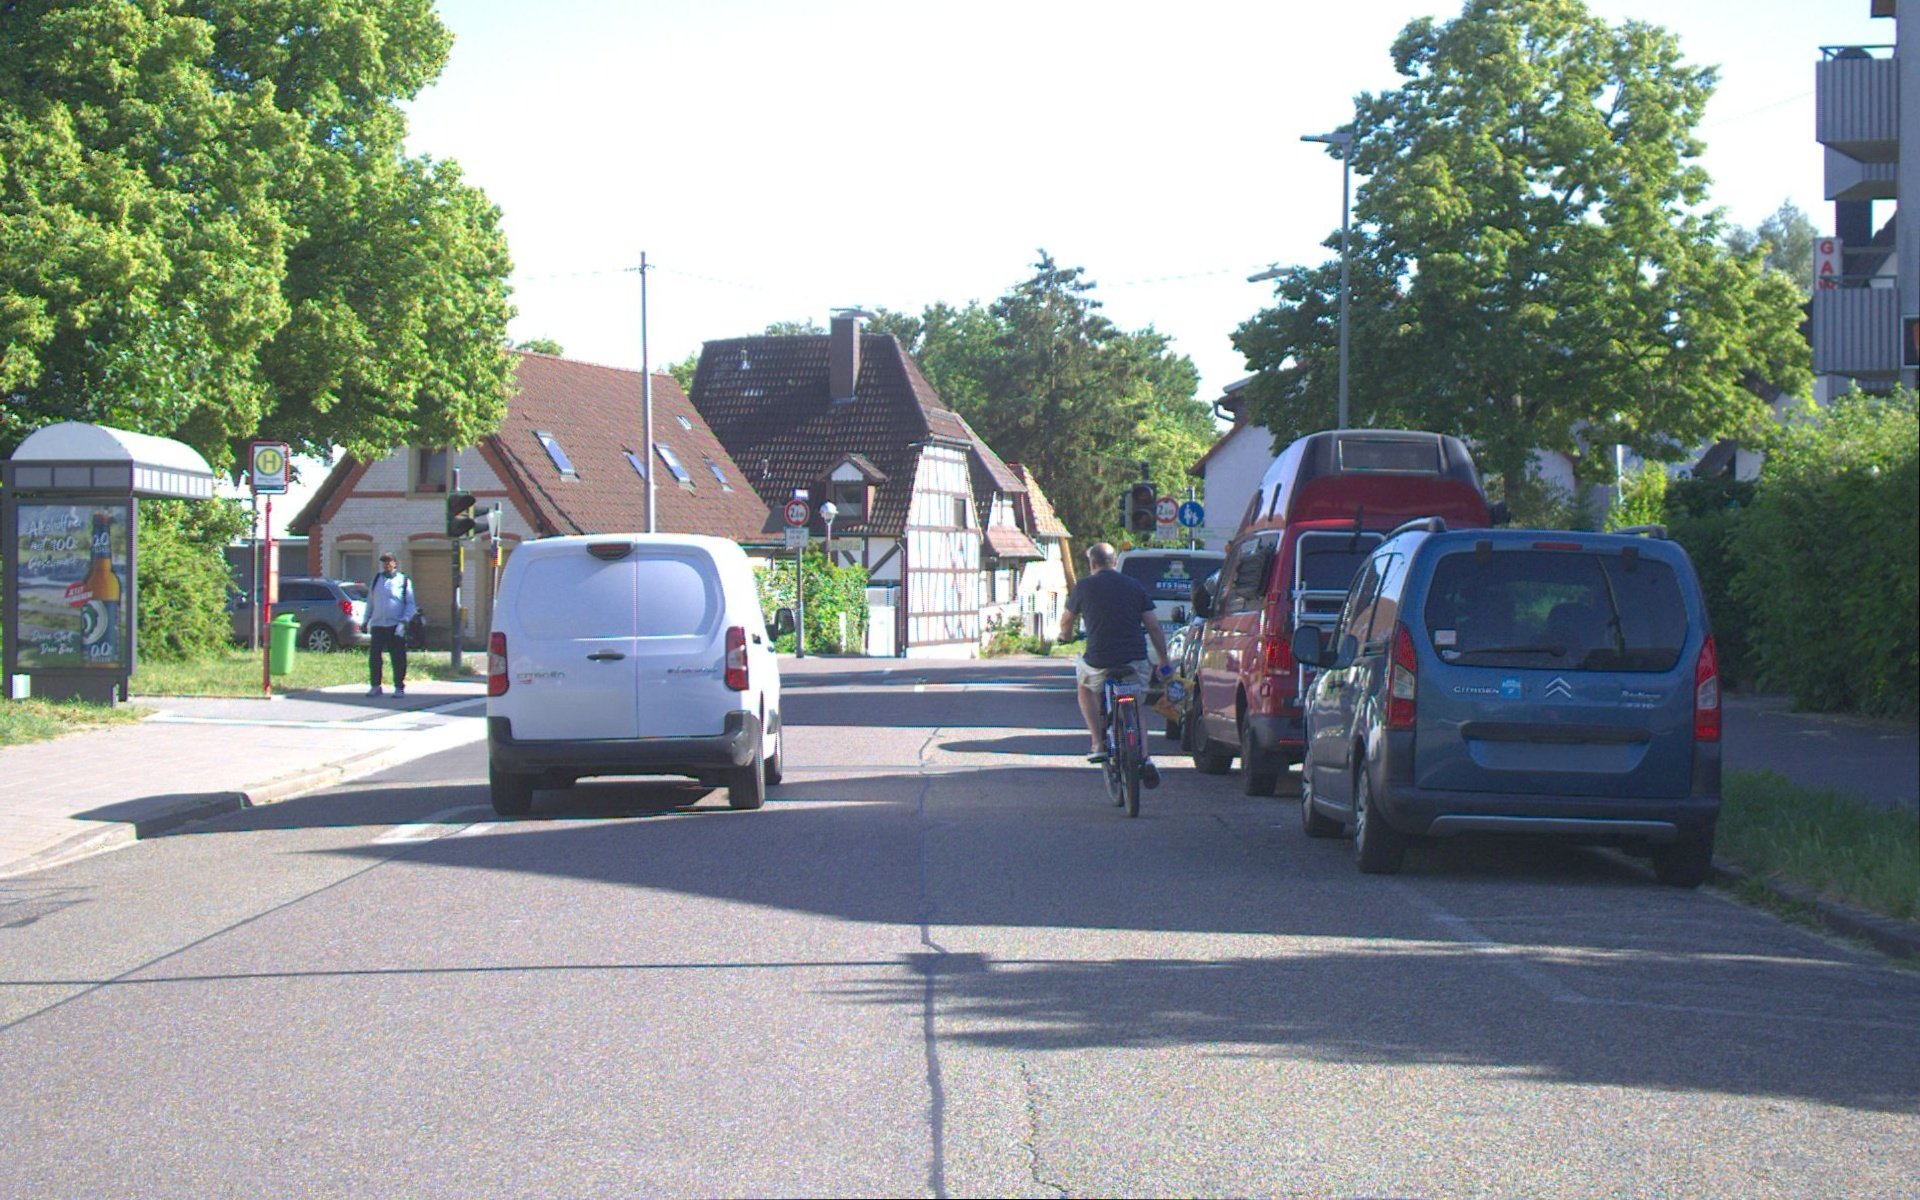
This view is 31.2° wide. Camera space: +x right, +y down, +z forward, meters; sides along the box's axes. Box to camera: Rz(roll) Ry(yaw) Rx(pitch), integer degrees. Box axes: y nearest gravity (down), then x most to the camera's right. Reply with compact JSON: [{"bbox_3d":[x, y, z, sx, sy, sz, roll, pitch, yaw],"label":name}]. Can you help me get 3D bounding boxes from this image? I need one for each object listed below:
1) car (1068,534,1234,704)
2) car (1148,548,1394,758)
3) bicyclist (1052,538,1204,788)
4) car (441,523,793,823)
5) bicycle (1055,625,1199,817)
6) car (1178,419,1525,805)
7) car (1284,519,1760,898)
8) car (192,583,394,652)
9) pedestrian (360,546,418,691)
[{"bbox_3d":[2.457,0.237,45.051,1.804,2.061,4.000,2,0,-1],"label":"car"},{"bbox_3d":[2.854,0.463,32.294,1.804,1.779,4.000,2,0,-1],"label":"car"},{"bbox_3d":[1.082,0.401,22.360,0.905,1.579,0.966,1,0,-1],"label":"bicyclist"},{"bbox_3d":[-2.275,0.432,23.922,1.993,1.875,4.289,1,1,0],"label":"car"},{"bbox_3d":[1.066,0.756,22.400,0.787,1.135,2.280,1,1,-1],"label":"bicycle"},{"bbox_3d":[2.810,0.079,25.708,1.866,2.554,4.768,2,0,-1],"label":"car"},{"bbox_3d":[2.926,0.528,18.752,1.804,1.779,4.000,2,0,-1],"label":"car"},{"bbox_3d":[-14.481,0.359,74.637,3.980,1.424,1.714,1,1,18],"label":"car"},{"bbox_3d":[-7.123,0.231,42.894,0.621,1.799,0.640,0,0,-1],"label":"pedestrian"}]
